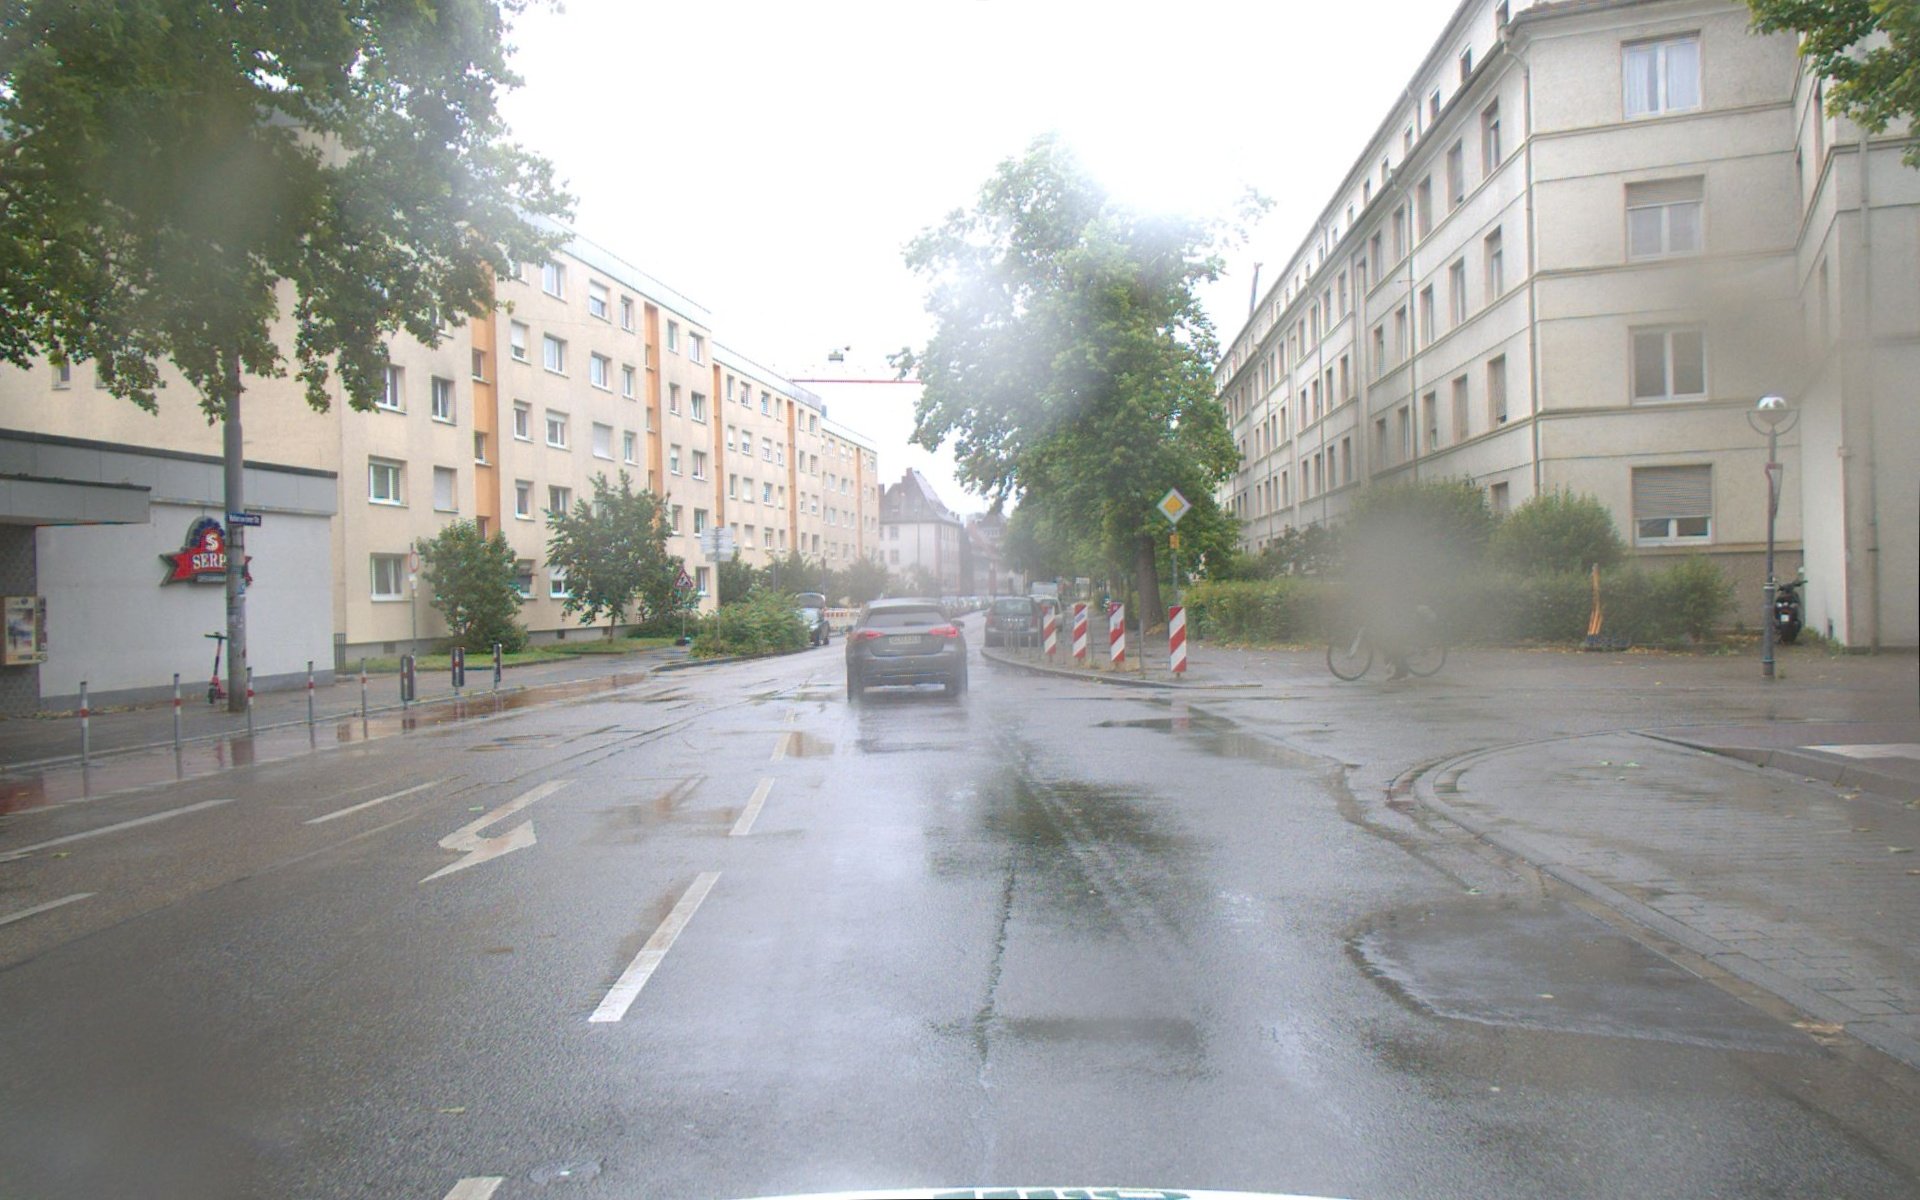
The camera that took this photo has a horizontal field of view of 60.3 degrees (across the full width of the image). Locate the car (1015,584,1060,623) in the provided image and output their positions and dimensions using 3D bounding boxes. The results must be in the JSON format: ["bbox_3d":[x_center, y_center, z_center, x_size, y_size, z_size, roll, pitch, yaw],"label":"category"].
[{"bbox_3d":[3.418,0.154,72.156,1.850,1.601,4.002,-2,0,4],"label":"car"}]

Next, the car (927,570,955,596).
[{"bbox_3d":[-1.434,-1.263,126.209,1.850,1.868,4.002,-2,0,4],"label":"car"}]

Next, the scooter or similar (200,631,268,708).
[{"bbox_3d":[-12.873,1.223,29.365,0.428,1.288,1.376,-2,0,7],"label":"scooter or similar"}]

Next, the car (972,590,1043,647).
[{"bbox_3d":[1.405,0.543,50.659,1.953,1.601,3.999,-2,0,-1],"label":"car"}]

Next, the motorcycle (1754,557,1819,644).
[{"bbox_3d":[14.443,-0.009,28.964,0.858,1.416,3.003,-2,0,25],"label":"motorcycle"}]

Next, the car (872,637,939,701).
[{"bbox_3d":[-1.391,1.769,43.223,1.574,1.396,4.000,-3,0,0],"label":"car"}]

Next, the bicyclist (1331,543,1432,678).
[{"bbox_3d":[6.166,0.143,24.219,0.924,1.901,1.137,-2,0,-18],"label":"bicyclist"}]

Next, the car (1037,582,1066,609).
[{"bbox_3d":[6.582,-0.319,118.917,2.004,1.868,4.794,-2,0,4],"label":"car"}]

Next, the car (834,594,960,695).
[{"bbox_3d":[-0.878,0.613,24.869,1.754,1.396,3.506,0,0,0],"label":"car"}]

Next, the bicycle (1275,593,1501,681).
[{"bbox_3d":[6.294,0.518,24.306,3.157,1.131,1.049,-2,0,-19],"label":"bicycle"}]
